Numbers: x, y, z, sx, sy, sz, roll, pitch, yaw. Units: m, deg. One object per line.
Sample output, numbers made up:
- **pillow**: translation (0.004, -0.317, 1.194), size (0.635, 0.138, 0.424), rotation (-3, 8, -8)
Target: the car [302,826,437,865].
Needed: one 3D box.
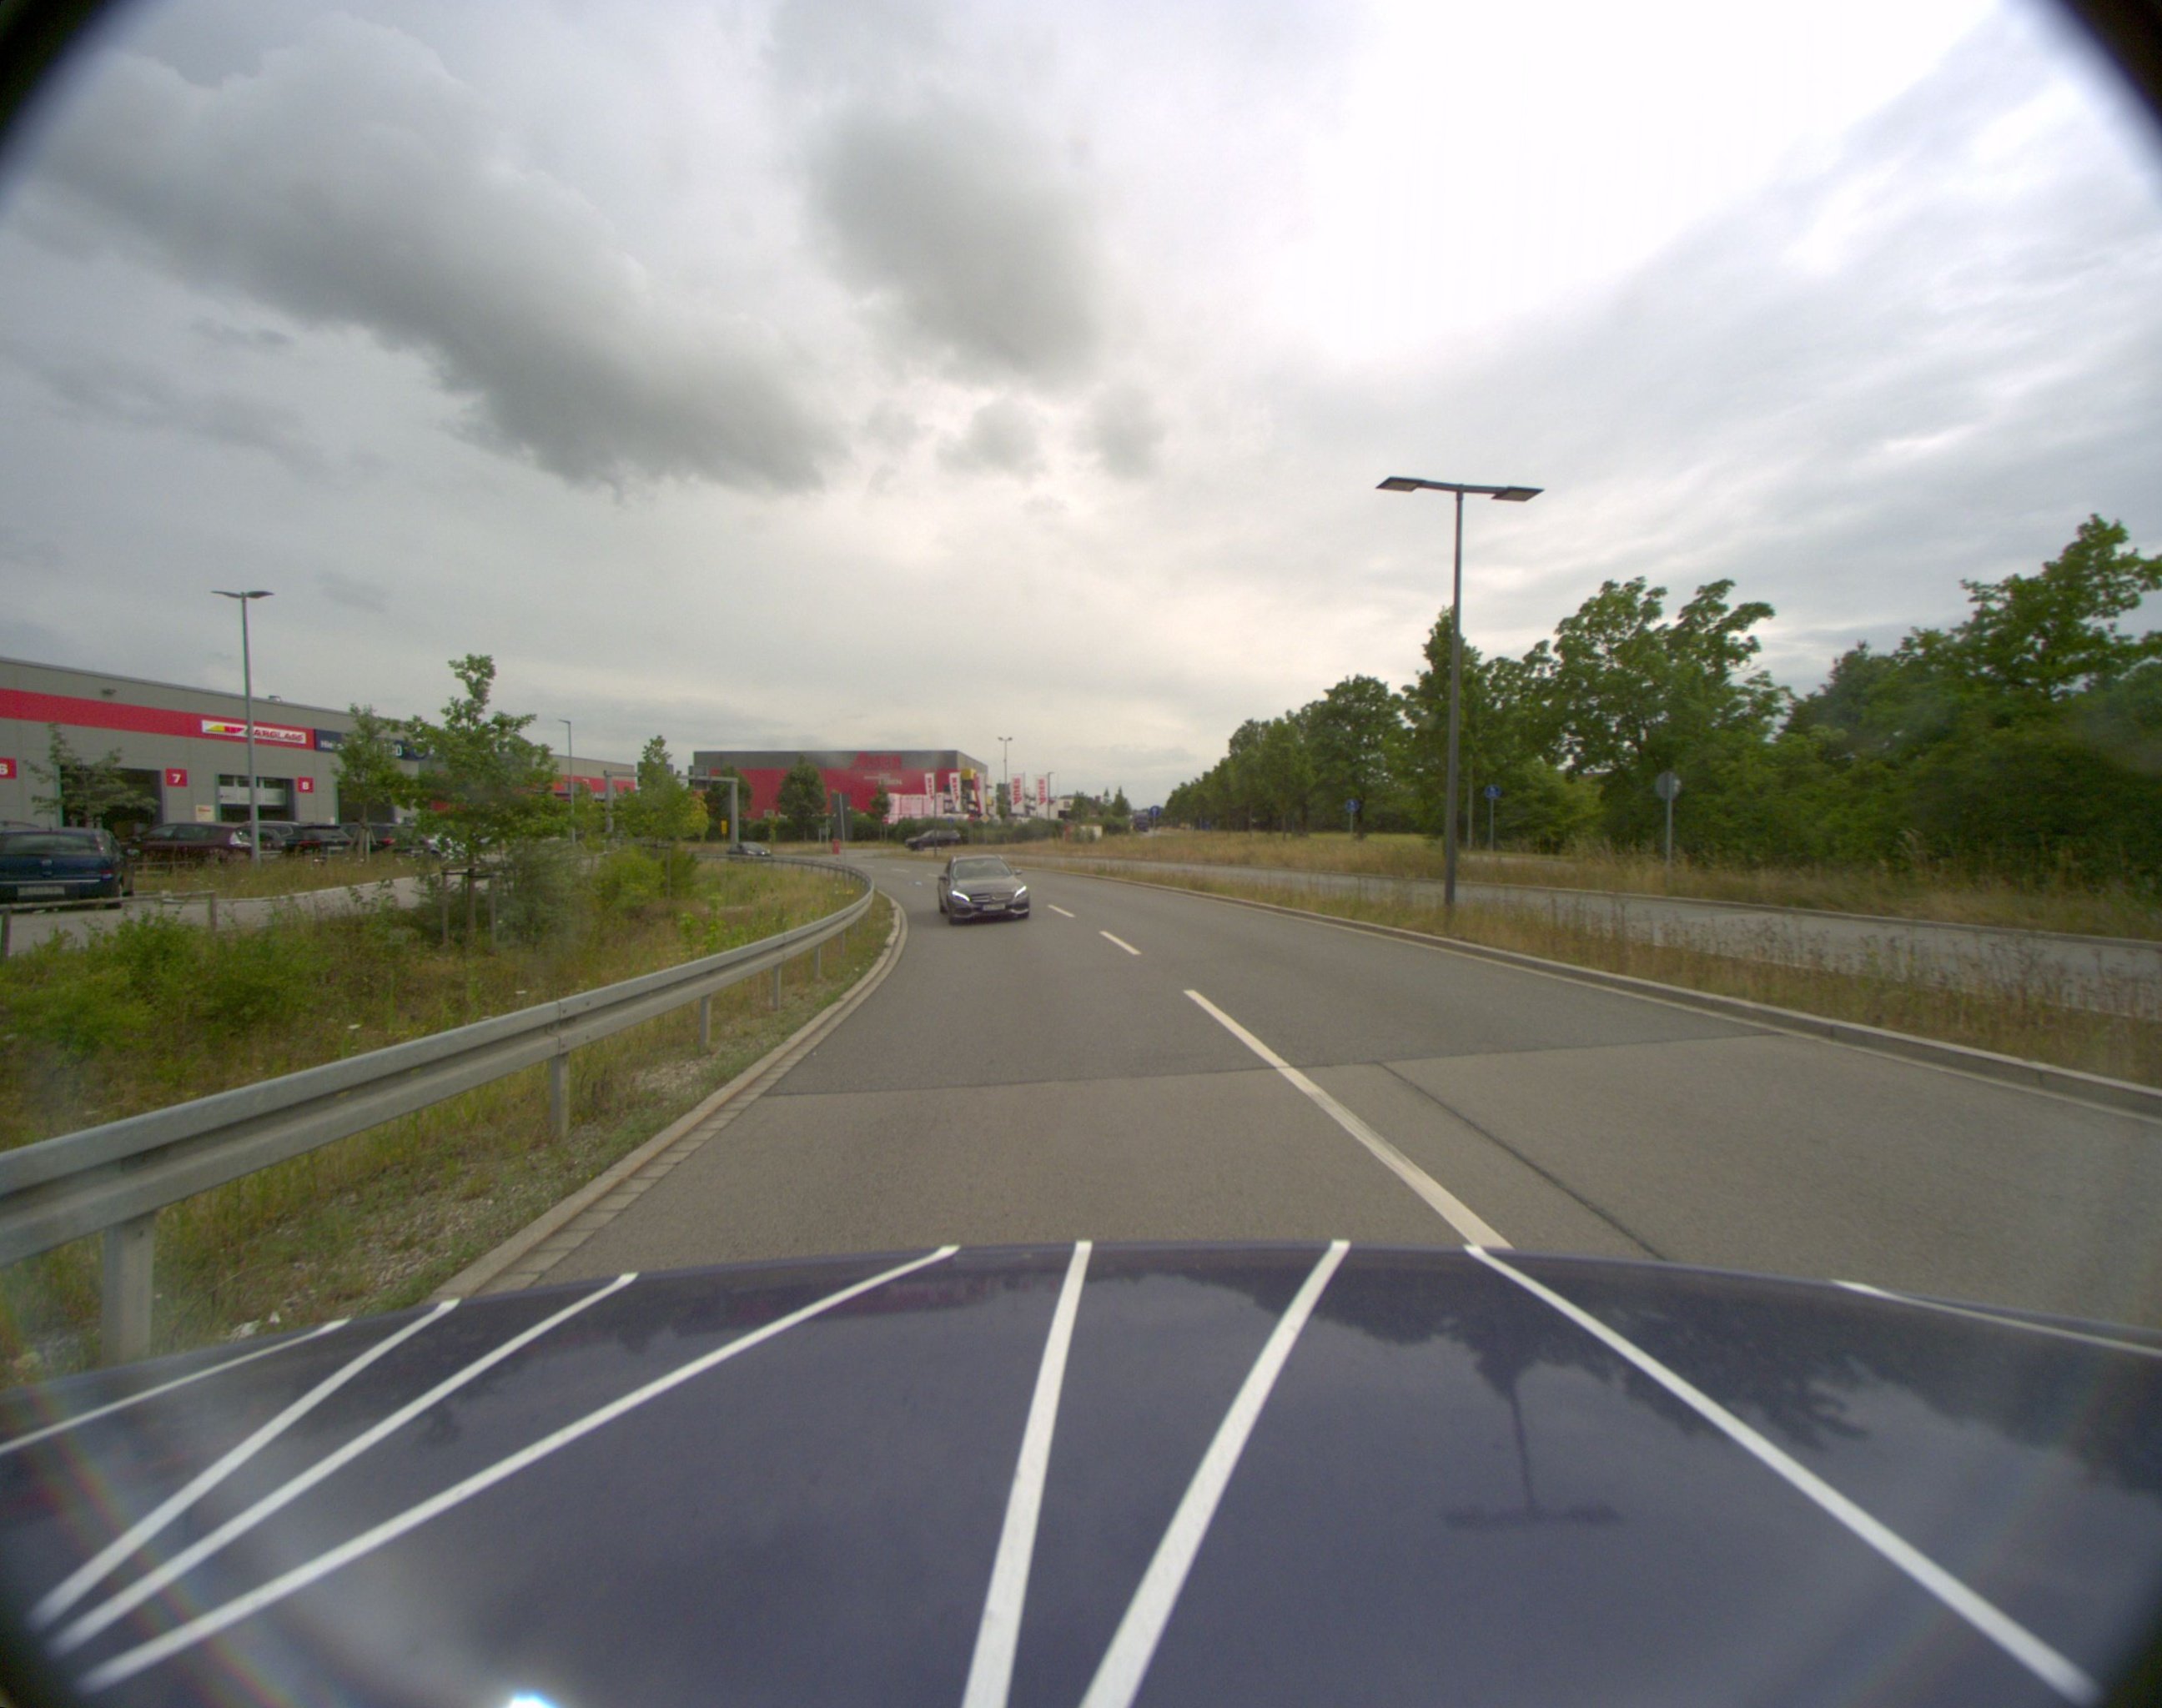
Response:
- **car**: translation (-25.614, -0.334, 27.426), size (3.321, 1.316, 1.480), rotation (-1, 2, -3)

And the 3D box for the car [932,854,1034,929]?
- **car**: translation (-2.491, 0.803, 18.370), size (1.766, 1.412, 4.084), rotation (-3, 2, -16)

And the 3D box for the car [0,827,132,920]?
- **car**: translation (-20.844, 0.318, 15.537), size (4.064, 1.613, 1.740), rotation (3, 2, 38)

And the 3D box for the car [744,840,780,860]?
- **car**: translation (-23.197, -0.291, 55.244), size (1.768, 1.310, 3.949), rotation (-4, 3, -31)

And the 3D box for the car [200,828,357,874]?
- **car**: translation (-25.897, -0.118, 24.595), size (3.321, 1.316, 1.480), rotation (-2, 2, -3)

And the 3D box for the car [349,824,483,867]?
- **car**: translation (-26.107, -0.353, 29.921), size (3.697, 1.536, 1.590), rotation (-2, 2, -3)

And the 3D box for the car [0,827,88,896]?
- **car**: translation (-25.830, 0.150, 17.466), size (3.697, 1.536, 1.590), rotation (0, 2, -3)

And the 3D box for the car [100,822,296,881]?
- **car**: translation (-25.899, -0.095, 22.386), size (3.697, 1.536, 1.590), rotation (-2, 2, -3)
